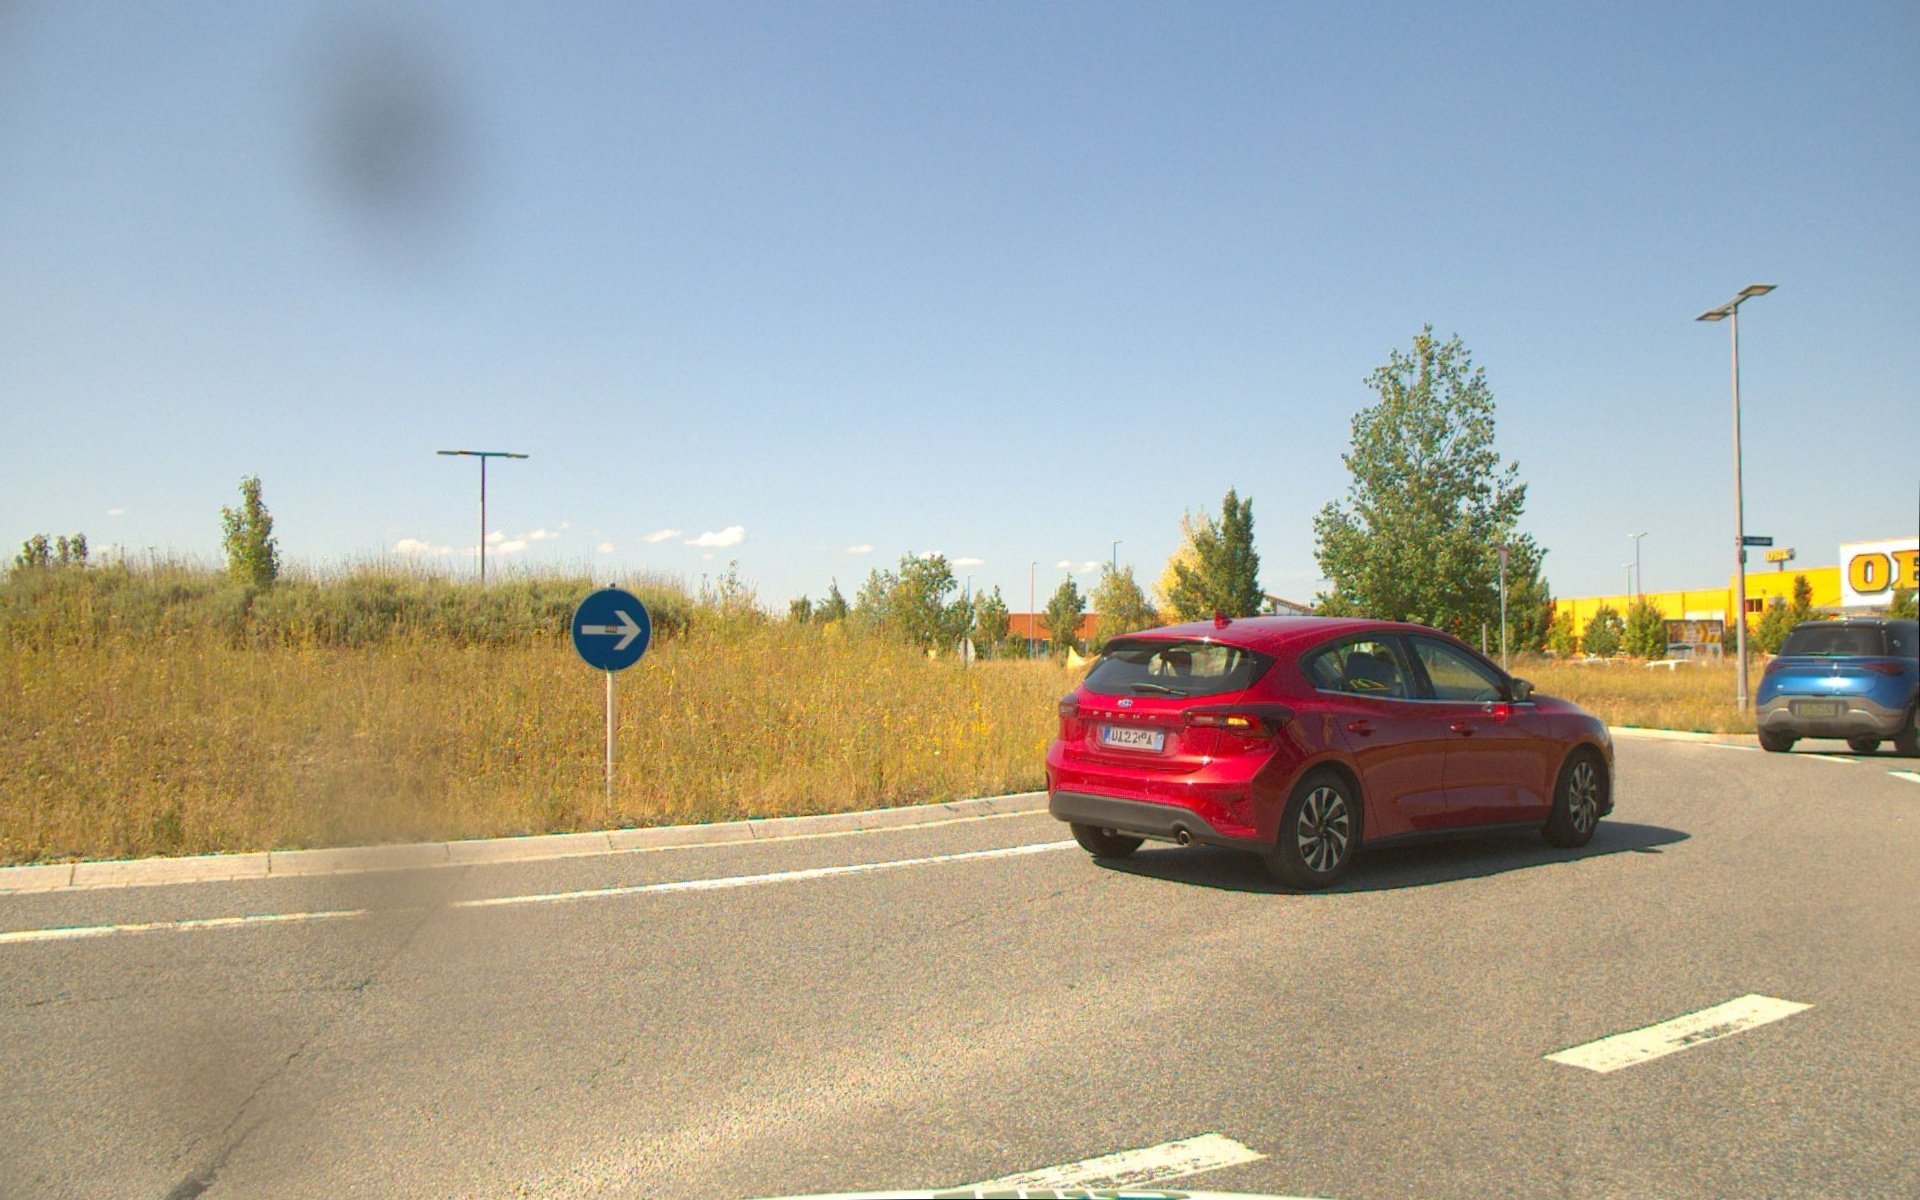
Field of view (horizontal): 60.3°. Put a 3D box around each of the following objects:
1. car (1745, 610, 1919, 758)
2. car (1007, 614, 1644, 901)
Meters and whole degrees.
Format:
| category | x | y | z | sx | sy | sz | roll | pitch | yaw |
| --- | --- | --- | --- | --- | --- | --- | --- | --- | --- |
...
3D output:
| category | x | y | z | sx | sy | sz | roll | pitch | yaw |
| --- | --- | --- | --- | --- | --- | --- | --- | --- | --- |
| car | 11.657 | 1.004 | 20.748 | 4.043 | 1.664 | 1.829 | 2 | -2 | -41 |
| car | 2.392 | 0.825 | 10.316 | 4.078 | 1.441 | 1.782 | 1 | -1 | -40 |
